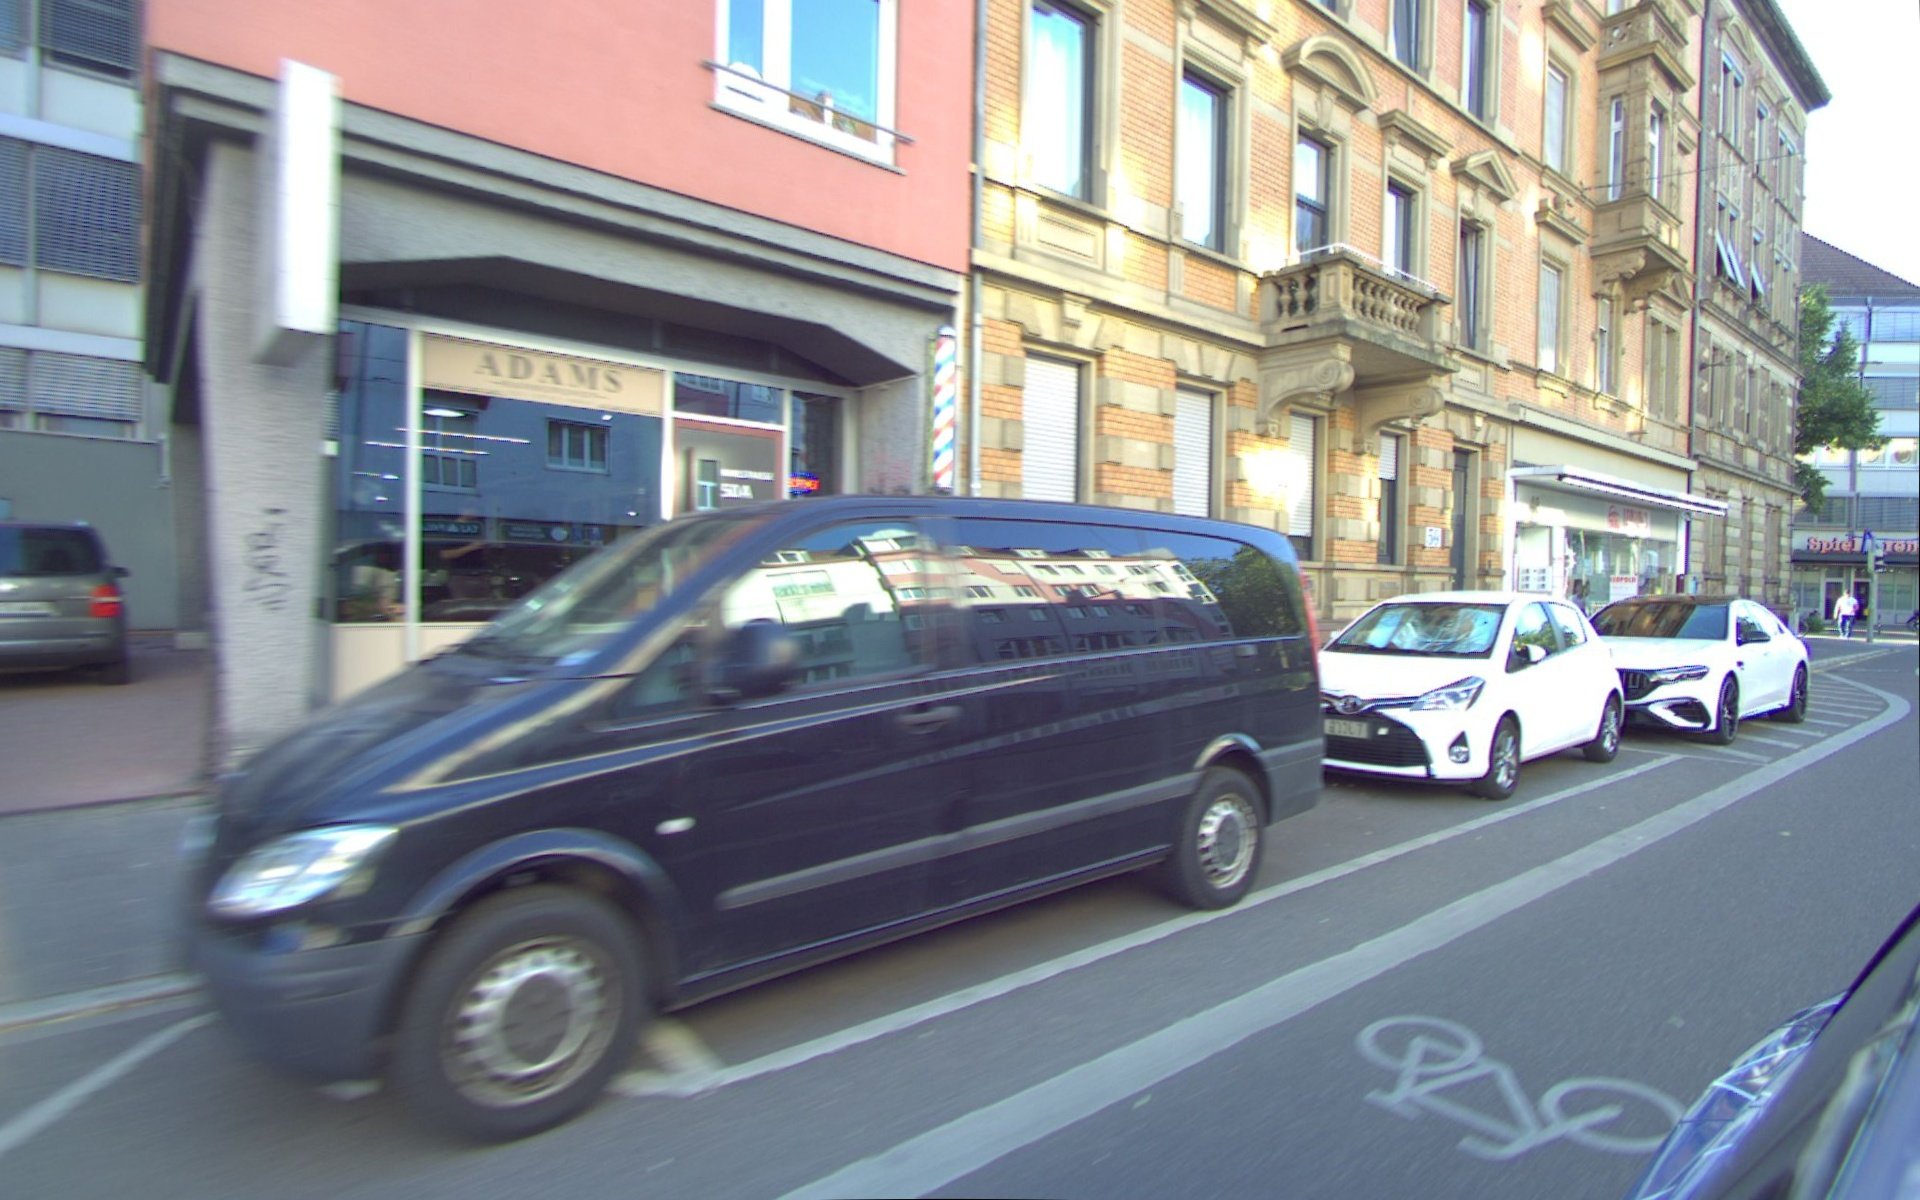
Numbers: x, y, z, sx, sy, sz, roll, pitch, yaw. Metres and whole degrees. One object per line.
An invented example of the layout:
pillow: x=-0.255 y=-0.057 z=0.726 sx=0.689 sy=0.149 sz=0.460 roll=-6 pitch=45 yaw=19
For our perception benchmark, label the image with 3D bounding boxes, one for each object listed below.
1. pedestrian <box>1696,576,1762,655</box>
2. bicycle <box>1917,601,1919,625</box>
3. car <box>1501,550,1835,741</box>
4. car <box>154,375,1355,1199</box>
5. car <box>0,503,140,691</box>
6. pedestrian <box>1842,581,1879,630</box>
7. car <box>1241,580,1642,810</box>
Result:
pedestrian: x=16.345 y=0.310 z=21.509 sx=0.896 sy=1.585 sz=0.778 roll=0 pitch=4 yaw=-37
bicycle: x=42.846 y=0.602 z=43.932 sx=0.698 sy=1.067 sz=1.836 roll=0 pitch=1 yaw=-42
car: x=8.391 y=0.403 z=11.814 sx=4.787 sy=1.794 sz=1.971 roll=0 pitch=1 yaw=-39
car: x=-0.449 y=0.435 z=4.516 sx=4.898 sy=1.892 sz=1.960 roll=0 pitch=0 yaw=-39
car: x=-9.914 y=-0.168 z=10.553 sx=1.749 sy=1.668 sz=4.034 roll=0 pitch=4 yaw=-44
pedestrian: x=31.790 y=0.197 z=35.731 sx=1.014 sy=1.687 sz=0.785 roll=2 pitch=0 yaw=-39
car: x=4.236 y=0.608 z=8.632 sx=3.893 sy=1.515 sz=1.733 roll=0 pitch=0 yaw=-42
